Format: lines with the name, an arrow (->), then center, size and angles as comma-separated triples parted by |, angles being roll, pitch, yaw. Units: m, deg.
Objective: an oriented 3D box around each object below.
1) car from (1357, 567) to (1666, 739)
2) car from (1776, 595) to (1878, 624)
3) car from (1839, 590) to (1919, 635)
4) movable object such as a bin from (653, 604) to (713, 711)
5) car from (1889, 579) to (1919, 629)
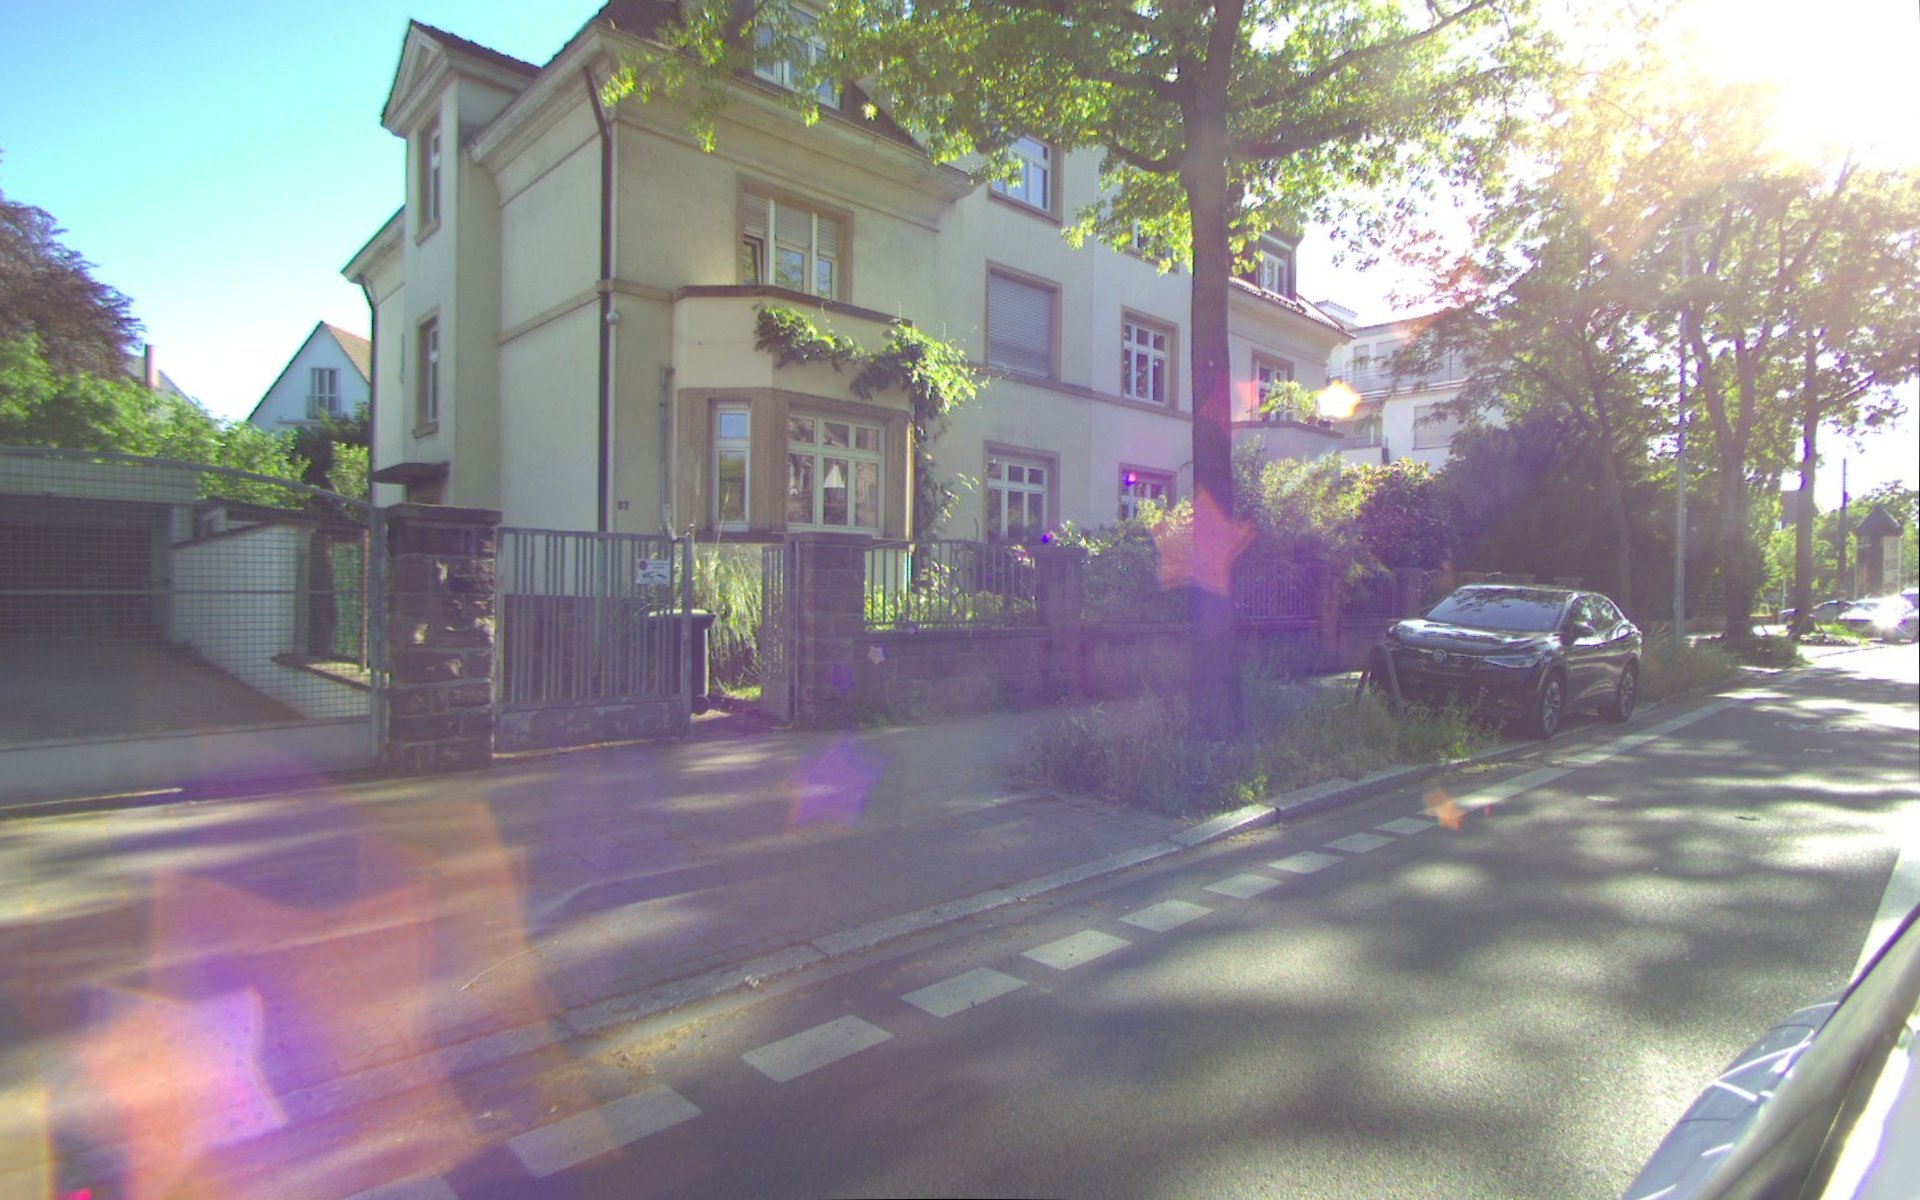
car -> 6.709, 0.497, 12.135 | 4.186, 1.619, 1.917 | 0, 4, -42
car -> 46.068, 0.466, 53.835 | 1.784, 1.459, 3.990 | 0, 1, -44
car -> 31.513, 0.387, 34.270 | 4.181, 1.427, 1.901 | 0, 1, -38
movable object such as a bin -> -2.923, 0.585, 10.670 | 0.551, 1.062, 0.676 | 0, 0, -20
car -> 36.673, 0.134, 37.852 | 4.580, 1.808, 1.903 | 0, 1, -35
